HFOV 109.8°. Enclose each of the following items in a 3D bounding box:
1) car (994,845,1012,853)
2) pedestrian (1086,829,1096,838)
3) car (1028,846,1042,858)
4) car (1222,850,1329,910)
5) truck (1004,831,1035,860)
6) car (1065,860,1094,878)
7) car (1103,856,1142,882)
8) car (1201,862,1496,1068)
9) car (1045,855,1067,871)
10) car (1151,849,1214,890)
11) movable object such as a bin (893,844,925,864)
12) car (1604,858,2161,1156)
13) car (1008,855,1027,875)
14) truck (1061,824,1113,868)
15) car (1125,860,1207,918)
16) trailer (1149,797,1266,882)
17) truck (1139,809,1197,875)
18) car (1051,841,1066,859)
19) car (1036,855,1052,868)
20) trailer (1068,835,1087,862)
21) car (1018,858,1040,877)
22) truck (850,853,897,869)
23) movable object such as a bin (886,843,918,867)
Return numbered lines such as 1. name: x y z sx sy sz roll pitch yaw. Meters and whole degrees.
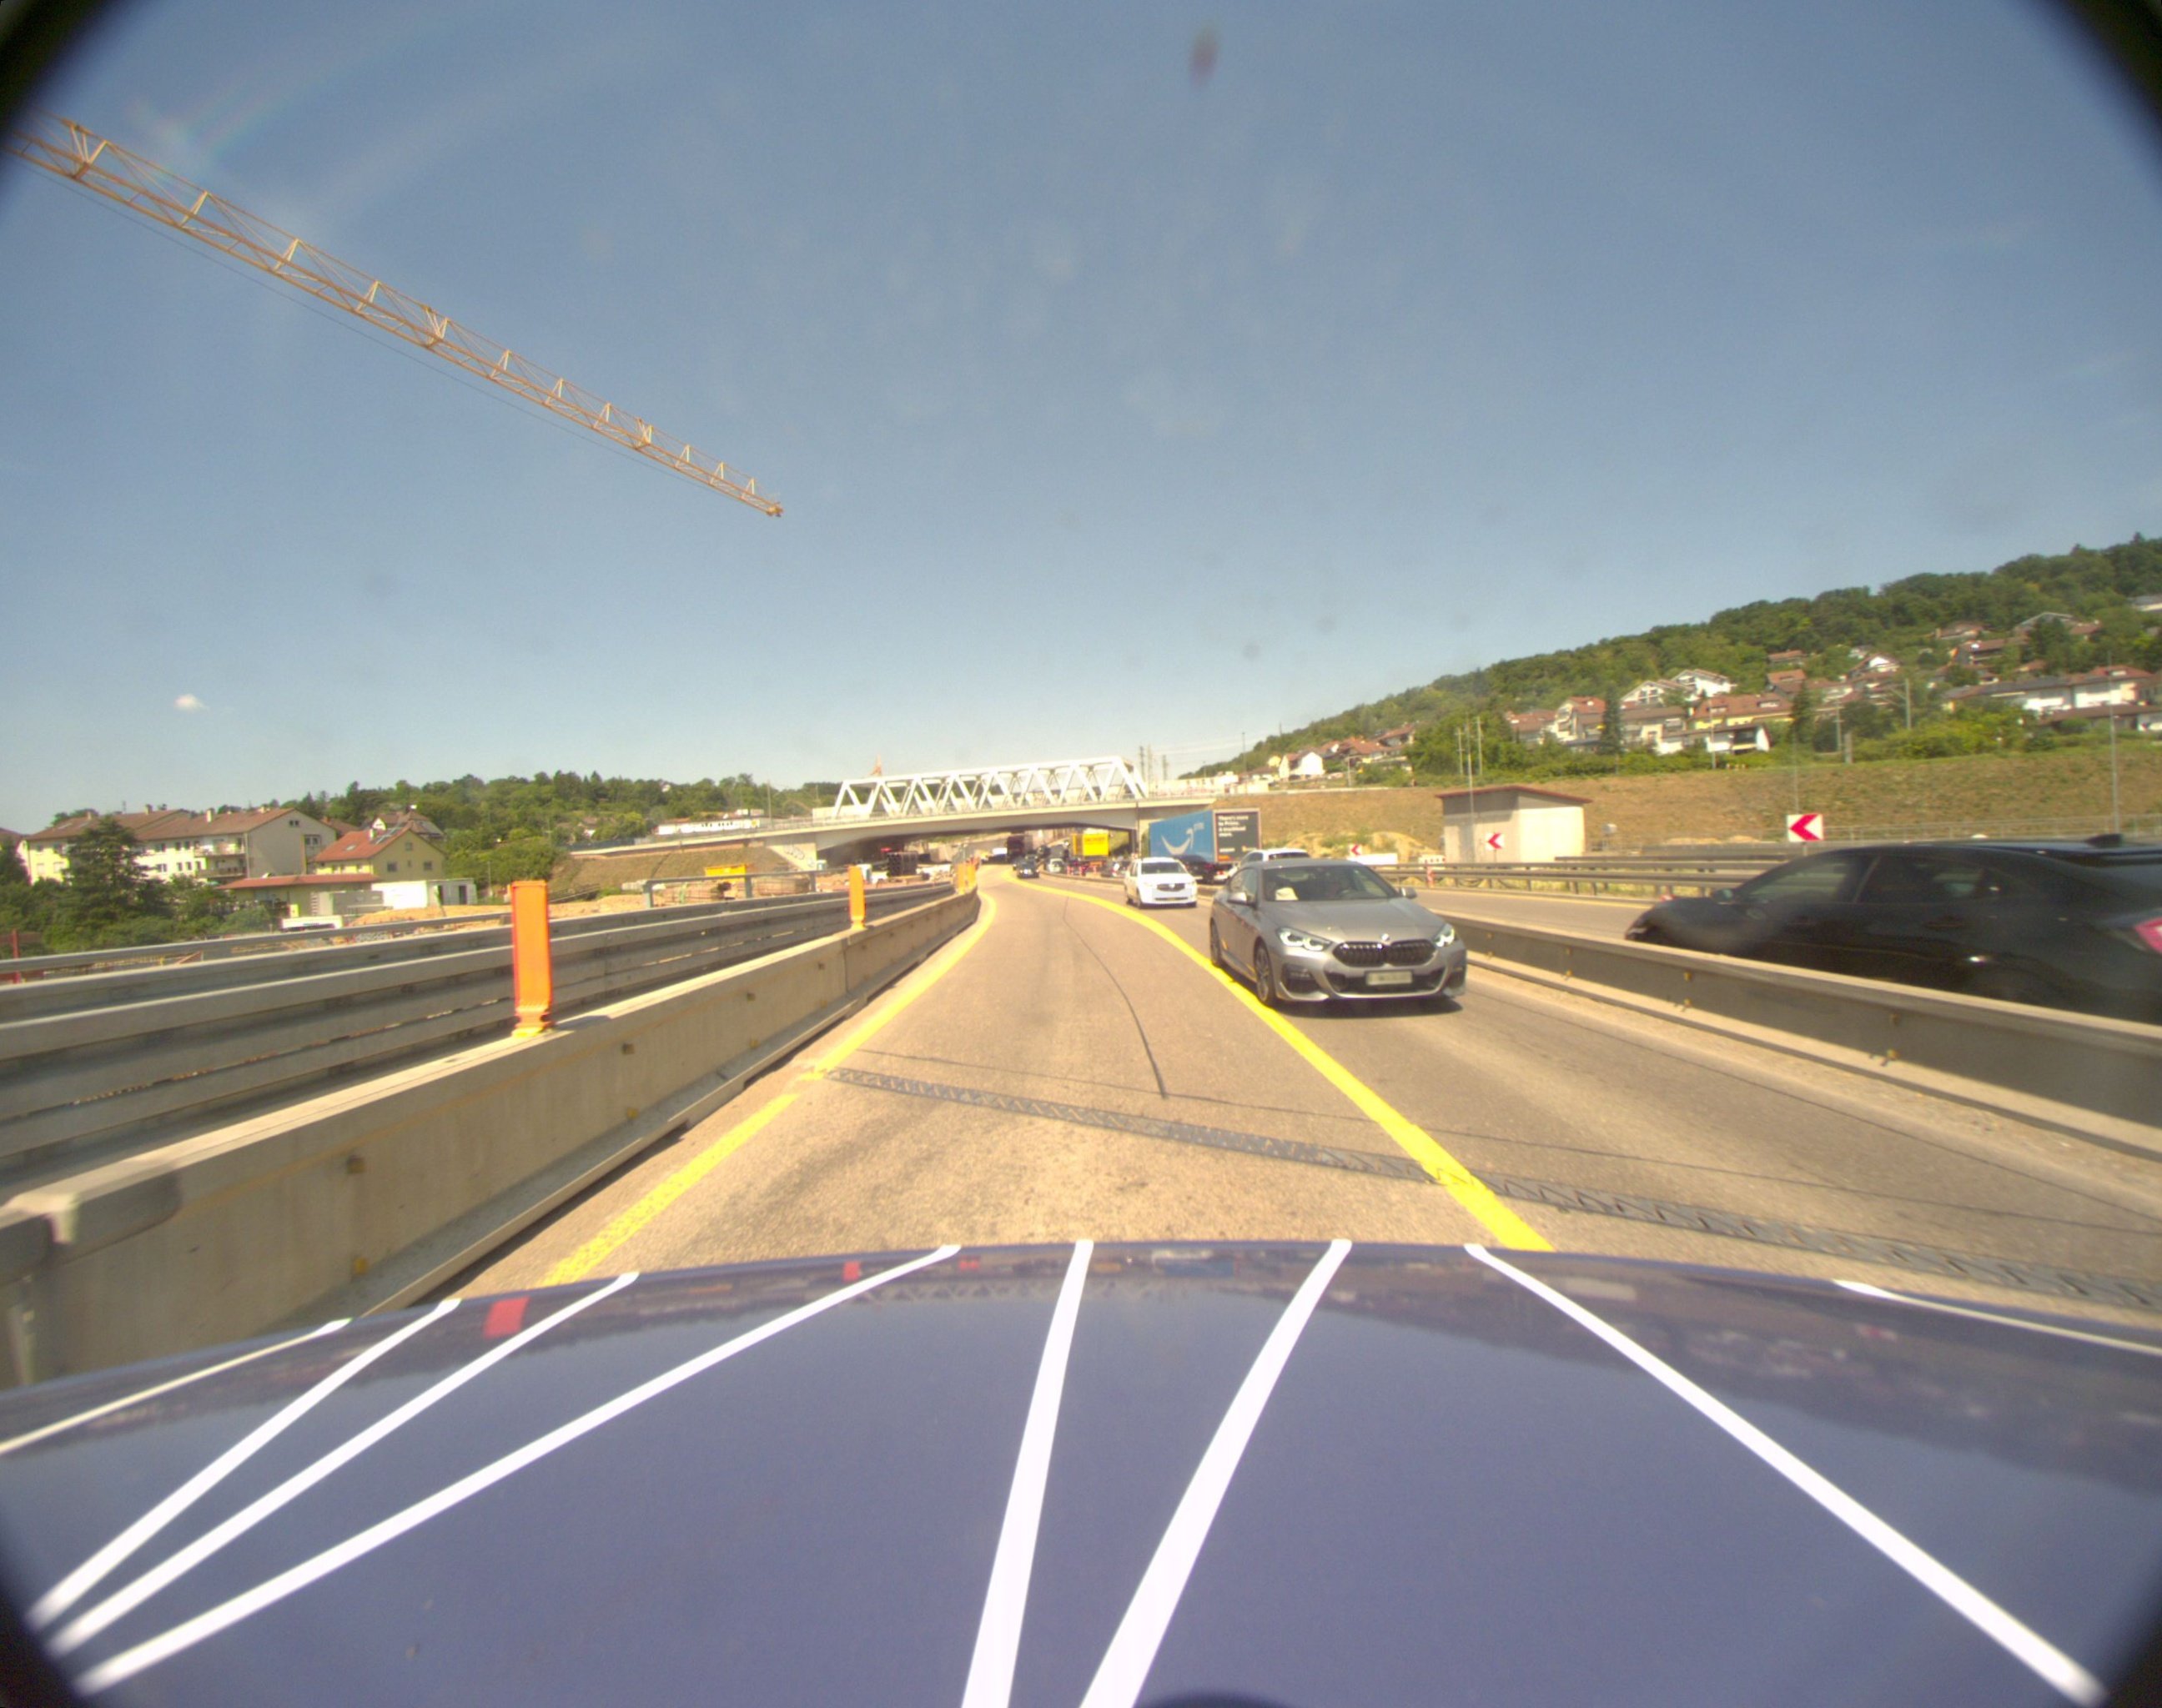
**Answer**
1. car: -21.878 -1.429 212.713 4.802 1.759 1.719 -4 2 -2
2. pedestrian: 2.401 -4.751 176.766 1.998 2.003 3.998 -2 4 3
3. car: -6.856 -0.349 113.442 1.801 1.543 3.999 -3 2 0
4. car: 6.087 0.836 24.374 1.826 1.637 4.569 -3 -2 -5
5. truck: -9.725 -1.445 121.448 3.462 4.026 10.206 -2 4 3
6. car: -0.170 1.333 66.893 1.826 1.427 4.580 -3 0 -9
7. car: 2.671 0.952 50.357 1.826 1.575 4.298 -3 1 -6
8. car: 2.587 0.958 8.558 1.838 1.587 4.390 -3 0 2
9. car: -2.556 0.939 77.674 1.642 1.477 3.997 -2 -1 -10
10. car: 4.757 0.684 36.392 1.886 1.638 4.710 -3 2 -6
11. movable object such as a bin: -30.982 -0.028 136.827 4.562 3.270 2.990 -4 4 7
12. car: 6.193 0.767 5.591 1.673 1.357 4.440 -3 0 1
13. car: -7.660 1.280 91.931 1.999 2.003 3.996 -3 4 -3
14. truck: 0.433 -0.807 85.129 2.816 4.317 15.359 -3 1 -10
15. car: 2.520 0.993 23.631 1.838 1.465 4.388 -3 1 -2
16. trailer: 7.163 -0.769 45.892 2.656 4.268 13.297 -4 1 -9
17. truck: 6.013 -0.806 53.240 2.633 4.246 4.728 -4 1 -8
18. car: -3.379 -0.675 114.779 2.076 2.490 6.480 -3 2 -1
19. car: -4.345 0.894 89.488 1.681 1.354 4.502 -3 0 -1
20. trailer: -0.594 -0.925 117.596 2.532 3.768 10.240 -4 2 -1
21. car: -4.815 1.226 70.511 1.802 1.543 3.997 -3 2 -6
22. truck: -32.948 1.062 120.647 6.535 2.062 2.665 -3 2 6
23. movable object such as a bin: -29.561 0.178 125.385 3.887 3.524 2.904 -3 4 14
